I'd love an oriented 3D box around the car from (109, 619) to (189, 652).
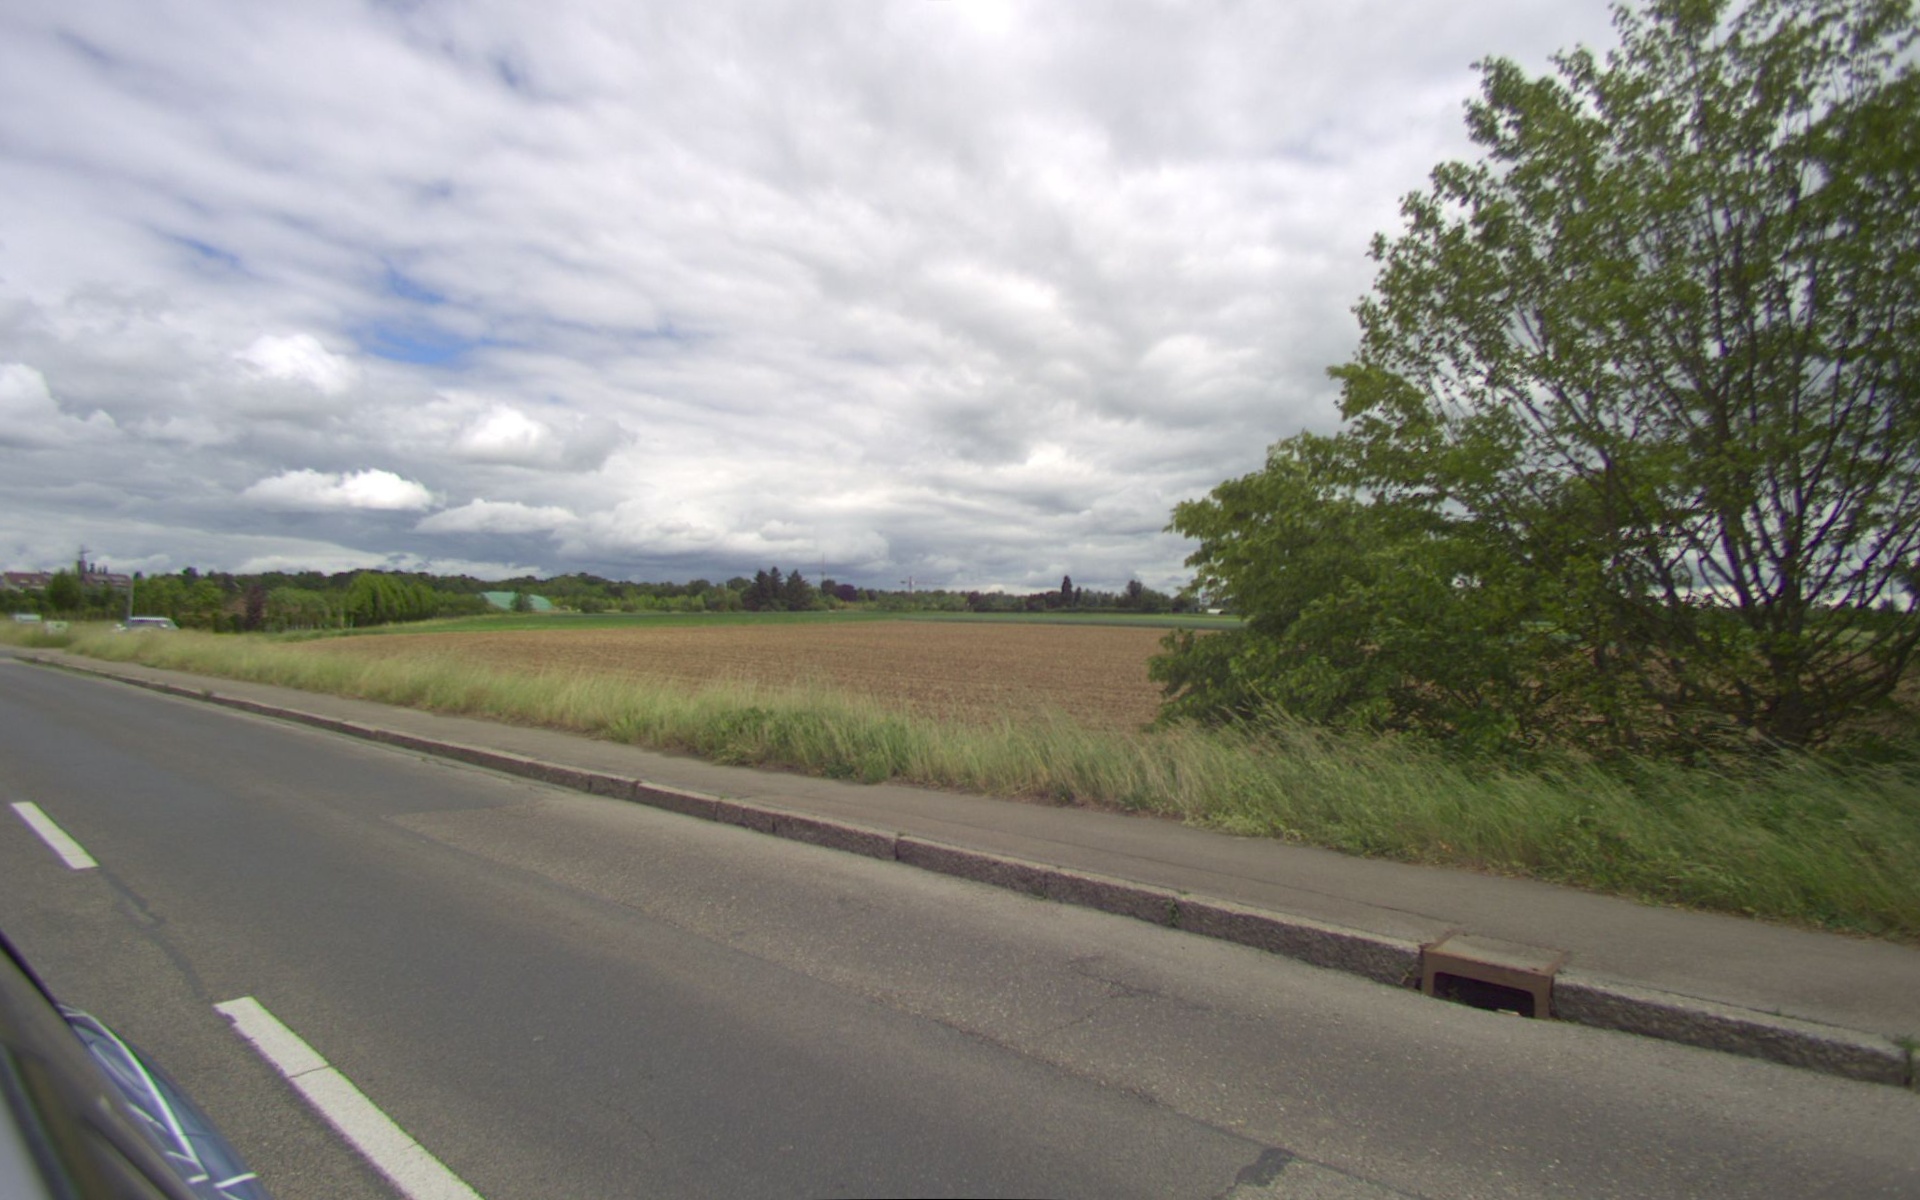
[{"bbox_3d":[-39.250,1.746,49.097,1.941,1.465,4.013,0,-3,-22],"label":"car"}]
